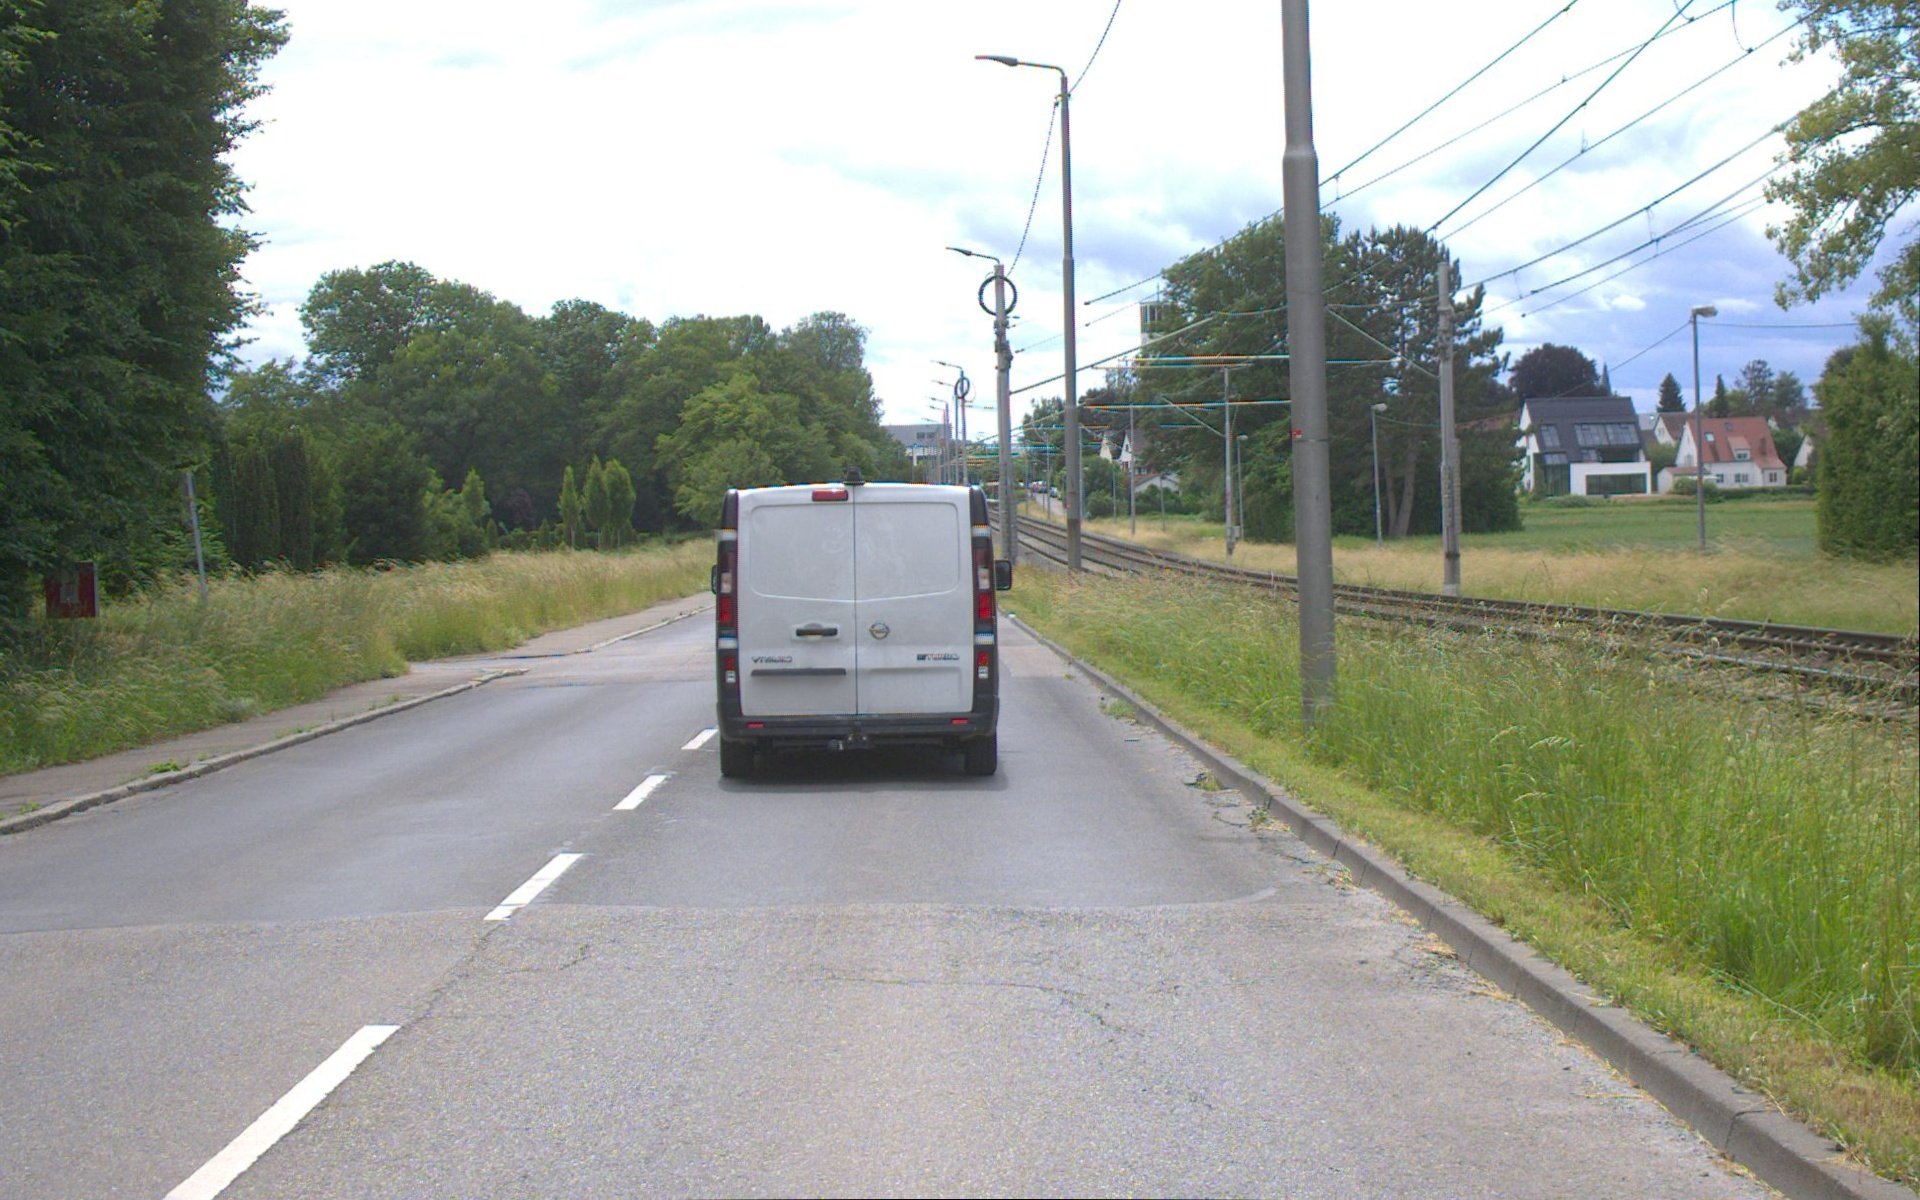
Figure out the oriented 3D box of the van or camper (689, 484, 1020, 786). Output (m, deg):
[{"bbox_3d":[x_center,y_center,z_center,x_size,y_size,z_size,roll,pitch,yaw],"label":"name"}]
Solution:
[{"bbox_3d":[-0.635,0.155,24.036,1.942,1.890,4.285,-1,2,3],"label":"van or camper"}]
